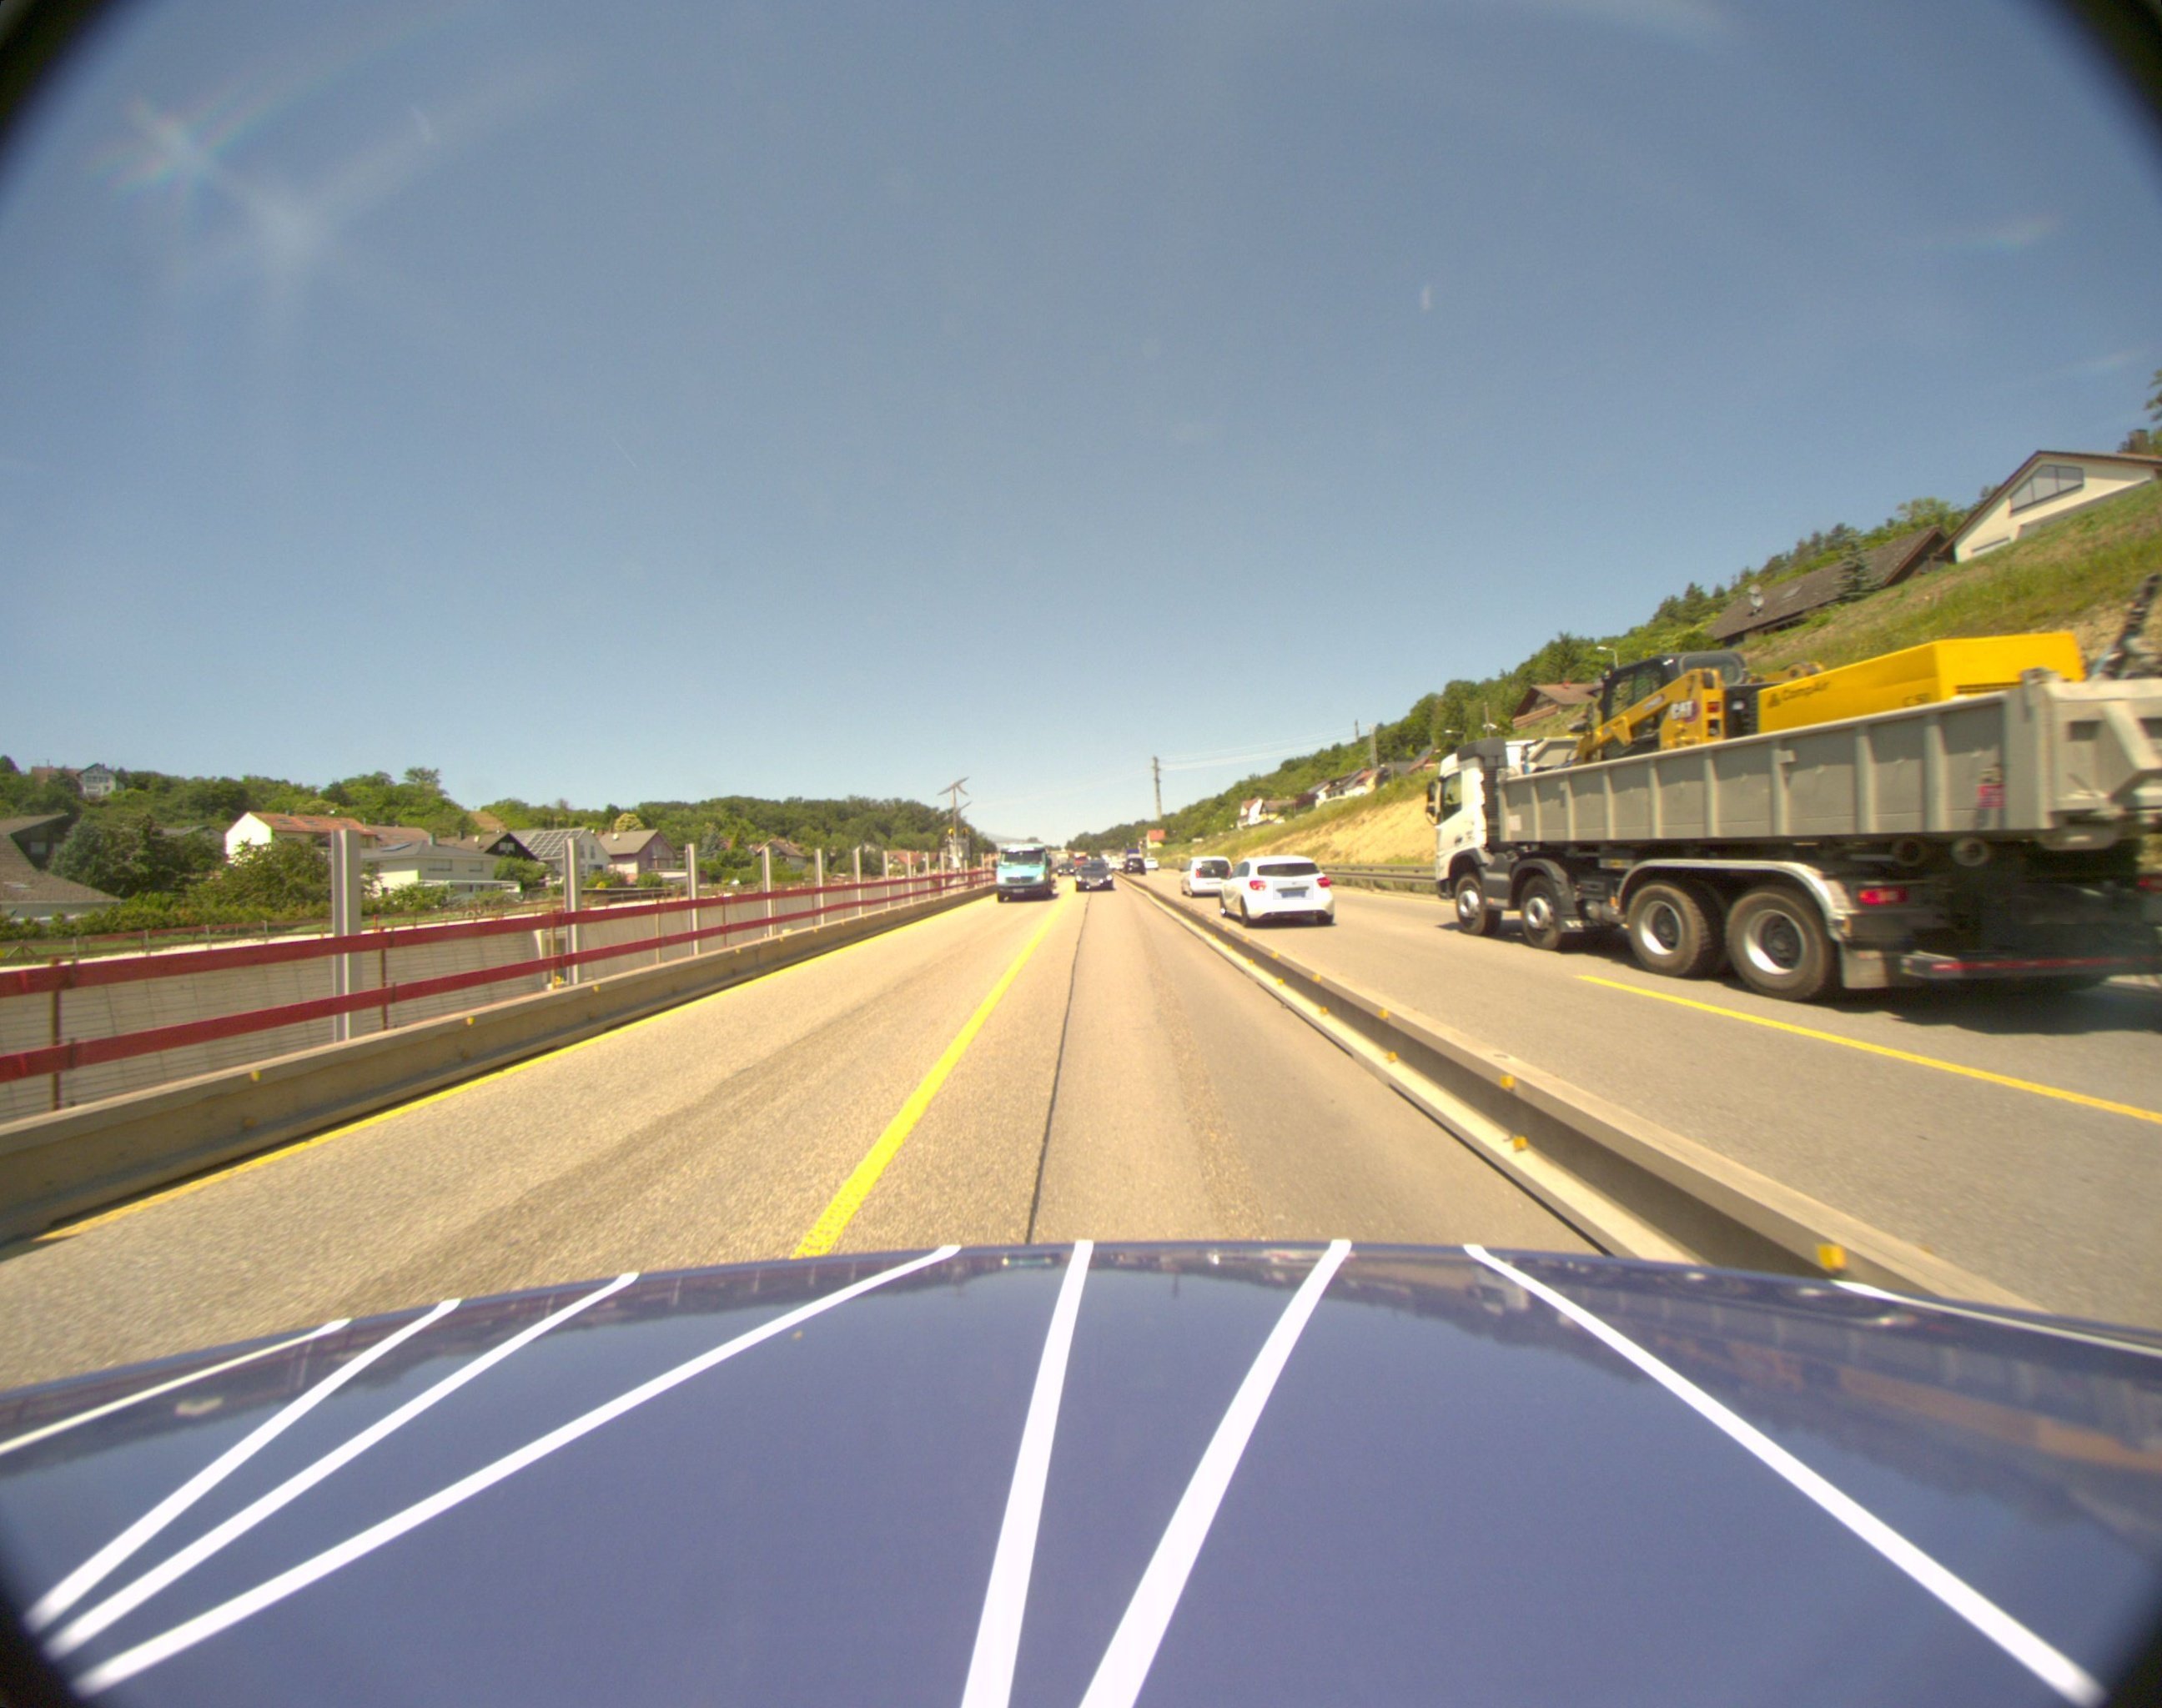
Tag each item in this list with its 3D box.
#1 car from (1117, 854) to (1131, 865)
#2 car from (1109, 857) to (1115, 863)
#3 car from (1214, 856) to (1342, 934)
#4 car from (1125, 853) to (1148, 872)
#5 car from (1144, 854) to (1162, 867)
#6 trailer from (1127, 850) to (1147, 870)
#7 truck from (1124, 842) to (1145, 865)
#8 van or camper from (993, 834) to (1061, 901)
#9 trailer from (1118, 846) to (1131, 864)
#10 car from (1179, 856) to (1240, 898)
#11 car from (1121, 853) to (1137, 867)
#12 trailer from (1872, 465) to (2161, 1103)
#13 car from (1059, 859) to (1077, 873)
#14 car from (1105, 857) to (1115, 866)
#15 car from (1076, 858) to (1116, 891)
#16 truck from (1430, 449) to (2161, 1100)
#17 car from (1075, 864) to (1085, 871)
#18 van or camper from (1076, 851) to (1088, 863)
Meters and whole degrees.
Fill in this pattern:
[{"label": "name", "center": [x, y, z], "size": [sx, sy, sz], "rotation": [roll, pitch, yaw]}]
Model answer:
[{"label": "car", "center": [6.126, 0.806, 108.673], "size": [1.810, 1.468, 4.280], "rotation": [-3, 0, 1]}, {"label": "car", "center": [9.303, 1.806, 228.159], "size": [1.853, 1.577, 4.174], "rotation": [-3, 0, 1]}, {"label": "car", "center": [4.118, 0.785, 16.554], "size": [1.689, 1.421, 4.122], "rotation": [-2, 0, 0]}, {"label": "car", "center": [5.084, 0.765, 69.959], "size": [1.895, 1.698, 4.562], "rotation": [-2, 0, 2]}, {"label": "car", "center": [9.258, 0.832, 97.750], "size": [1.904, 1.575, 4.514], "rotation": [-3, 0, 1]}, {"label": "trailer", "center": [5.949, 0.615, 80.917], "size": [1.651, 2.014, 4.269], "rotation": [-2, 0, -1]}, {"label": "truck", "center": [10.687, -0.071, 151.952], "size": [3.251, 4.135, 13.979], "rotation": [-2, 0, 1]}, {"label": "van or camper", "center": [-2.155, 0.550, 32.603], "size": [2.097, 2.458, 7.672], "rotation": [-3, -1, 1]}, {"label": "trailer", "center": [11.358, 0.291, 199.755], "size": [2.817, 4.261, 14.036], "rotation": [-3, 0, 1]}, {"label": "car", "center": [4.697, 0.805, 28.215], "size": [1.689, 1.421, 3.292], "rotation": [-2, 0, 0]}, {"label": "car", "center": [5.995, 0.775, 95.352], "size": [1.820, 1.583, 4.290], "rotation": [-3, 0, 1]}, {"label": "trailer", "center": [7.369, -0.425, 1.325], "size": [2.593, 3.616, 9.078], "rotation": [-2, 0, 1]}, {"label": "car", "center": [-1.309, 1.263, 78.450], "size": [1.611, 1.324, 3.497], "rotation": [-3, -1, 1]}, {"label": "car", "center": [5.669, 1.500, 149.643], "size": [1.817, 1.628, 4.362], "rotation": [-2, 0, 1]}, {"label": "car", "center": [0.731, 0.972, 36.496], "size": [1.746, 1.420, 4.001], "rotation": [-2, -1, 1]}, {"label": "truck", "center": [7.522, -0.488, 8.964], "size": [2.593, 3.701, 9.333], "rotation": [-2, 0, 1]}, {"label": "car", "center": [-0.205, 2.705, 153.208], "size": [1.679, 1.346, 3.487], "rotation": [-4, -1, 1]}, {"label": "van or camper", "center": [0.219, 0.671, 174.235], "size": [2.321, 2.513, 4.528], "rotation": [-4, -1, 1]}]
